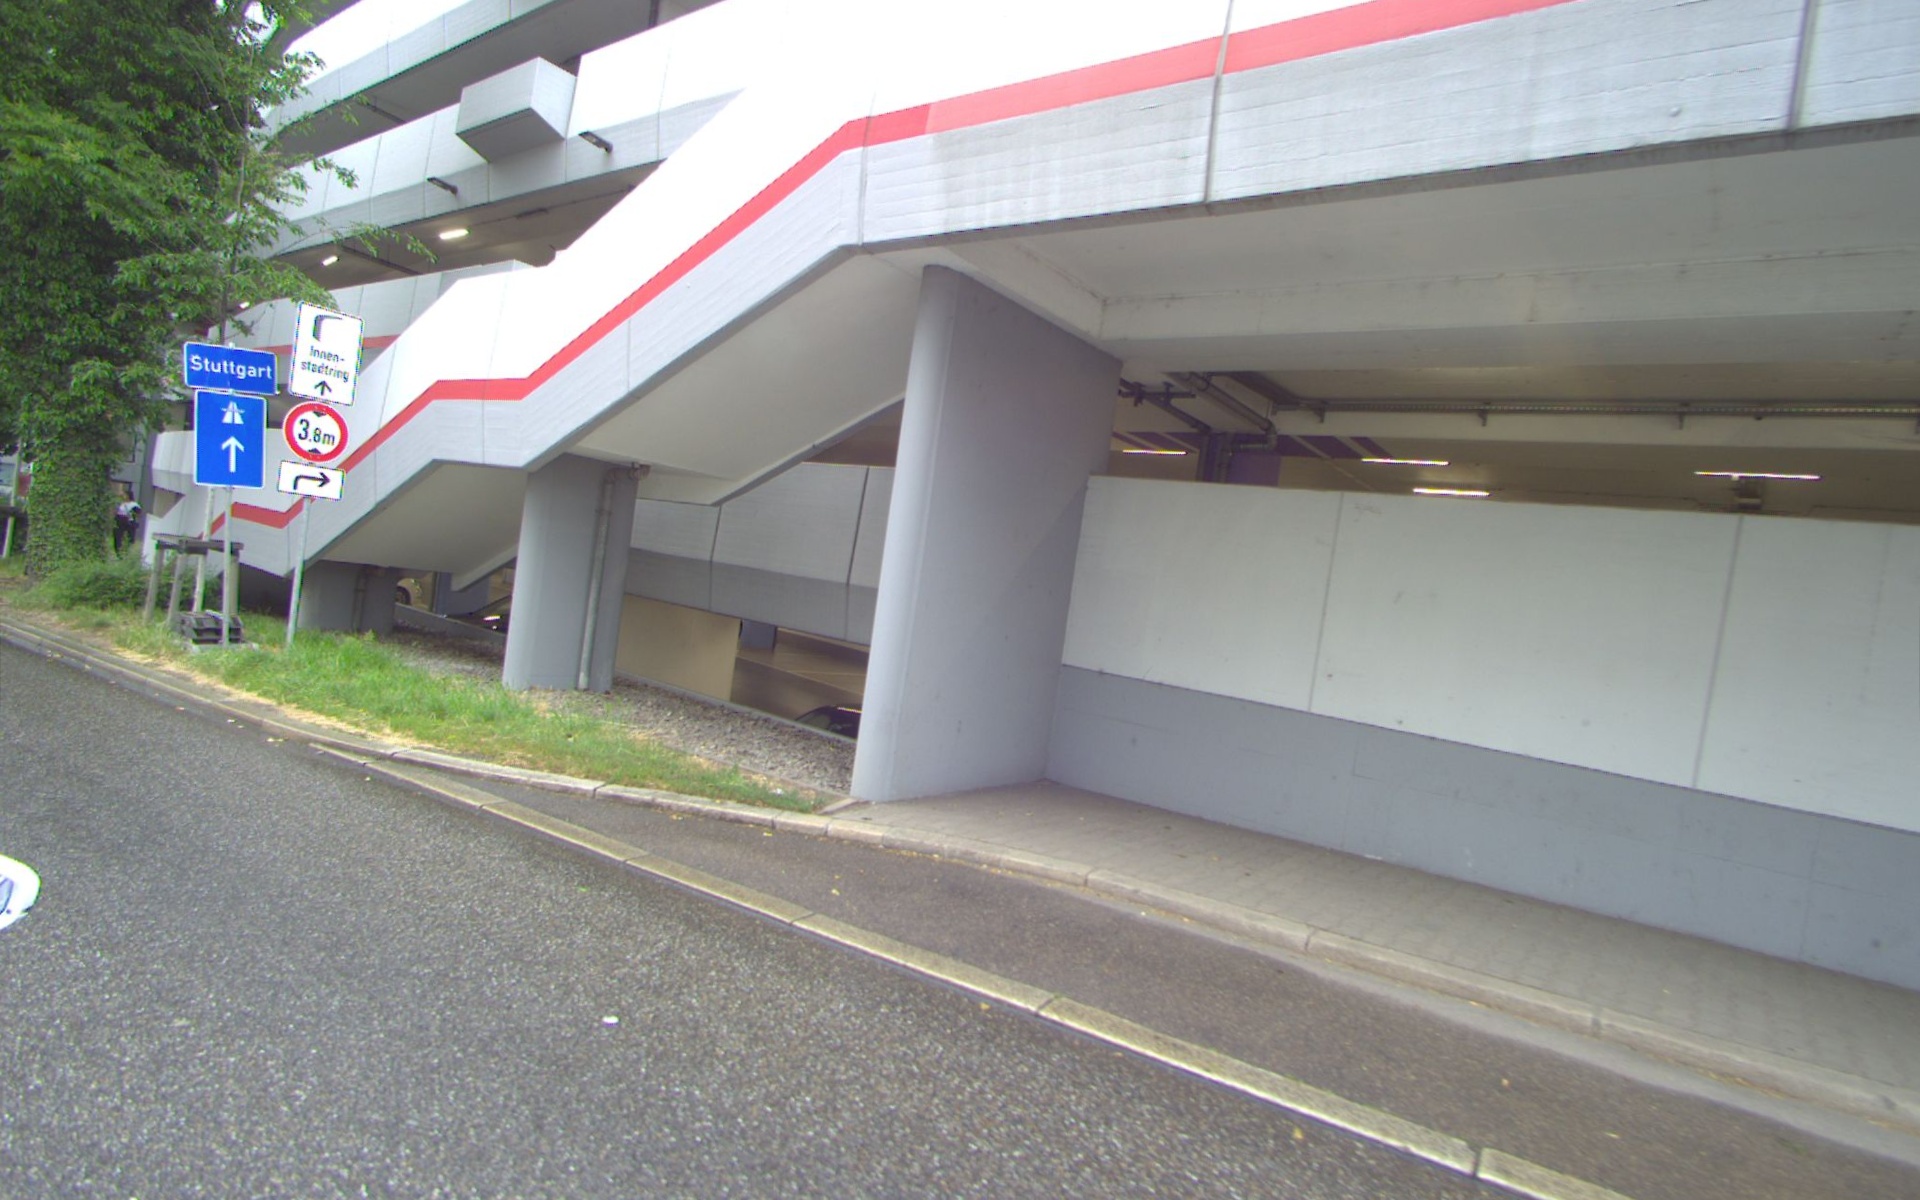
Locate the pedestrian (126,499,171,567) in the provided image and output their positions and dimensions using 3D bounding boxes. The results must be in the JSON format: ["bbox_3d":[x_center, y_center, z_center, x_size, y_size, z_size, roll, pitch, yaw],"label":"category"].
[{"bbox_3d":[-19.336,-1.598,23.973,0.496,1.519,0.582,6,-1,36],"label":"pedestrian"}]

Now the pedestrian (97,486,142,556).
[{"bbox_3d":[-19.620,-1.846,23.483,0.481,1.550,0.551,6,-1,38],"label":"pedestrian"}]
